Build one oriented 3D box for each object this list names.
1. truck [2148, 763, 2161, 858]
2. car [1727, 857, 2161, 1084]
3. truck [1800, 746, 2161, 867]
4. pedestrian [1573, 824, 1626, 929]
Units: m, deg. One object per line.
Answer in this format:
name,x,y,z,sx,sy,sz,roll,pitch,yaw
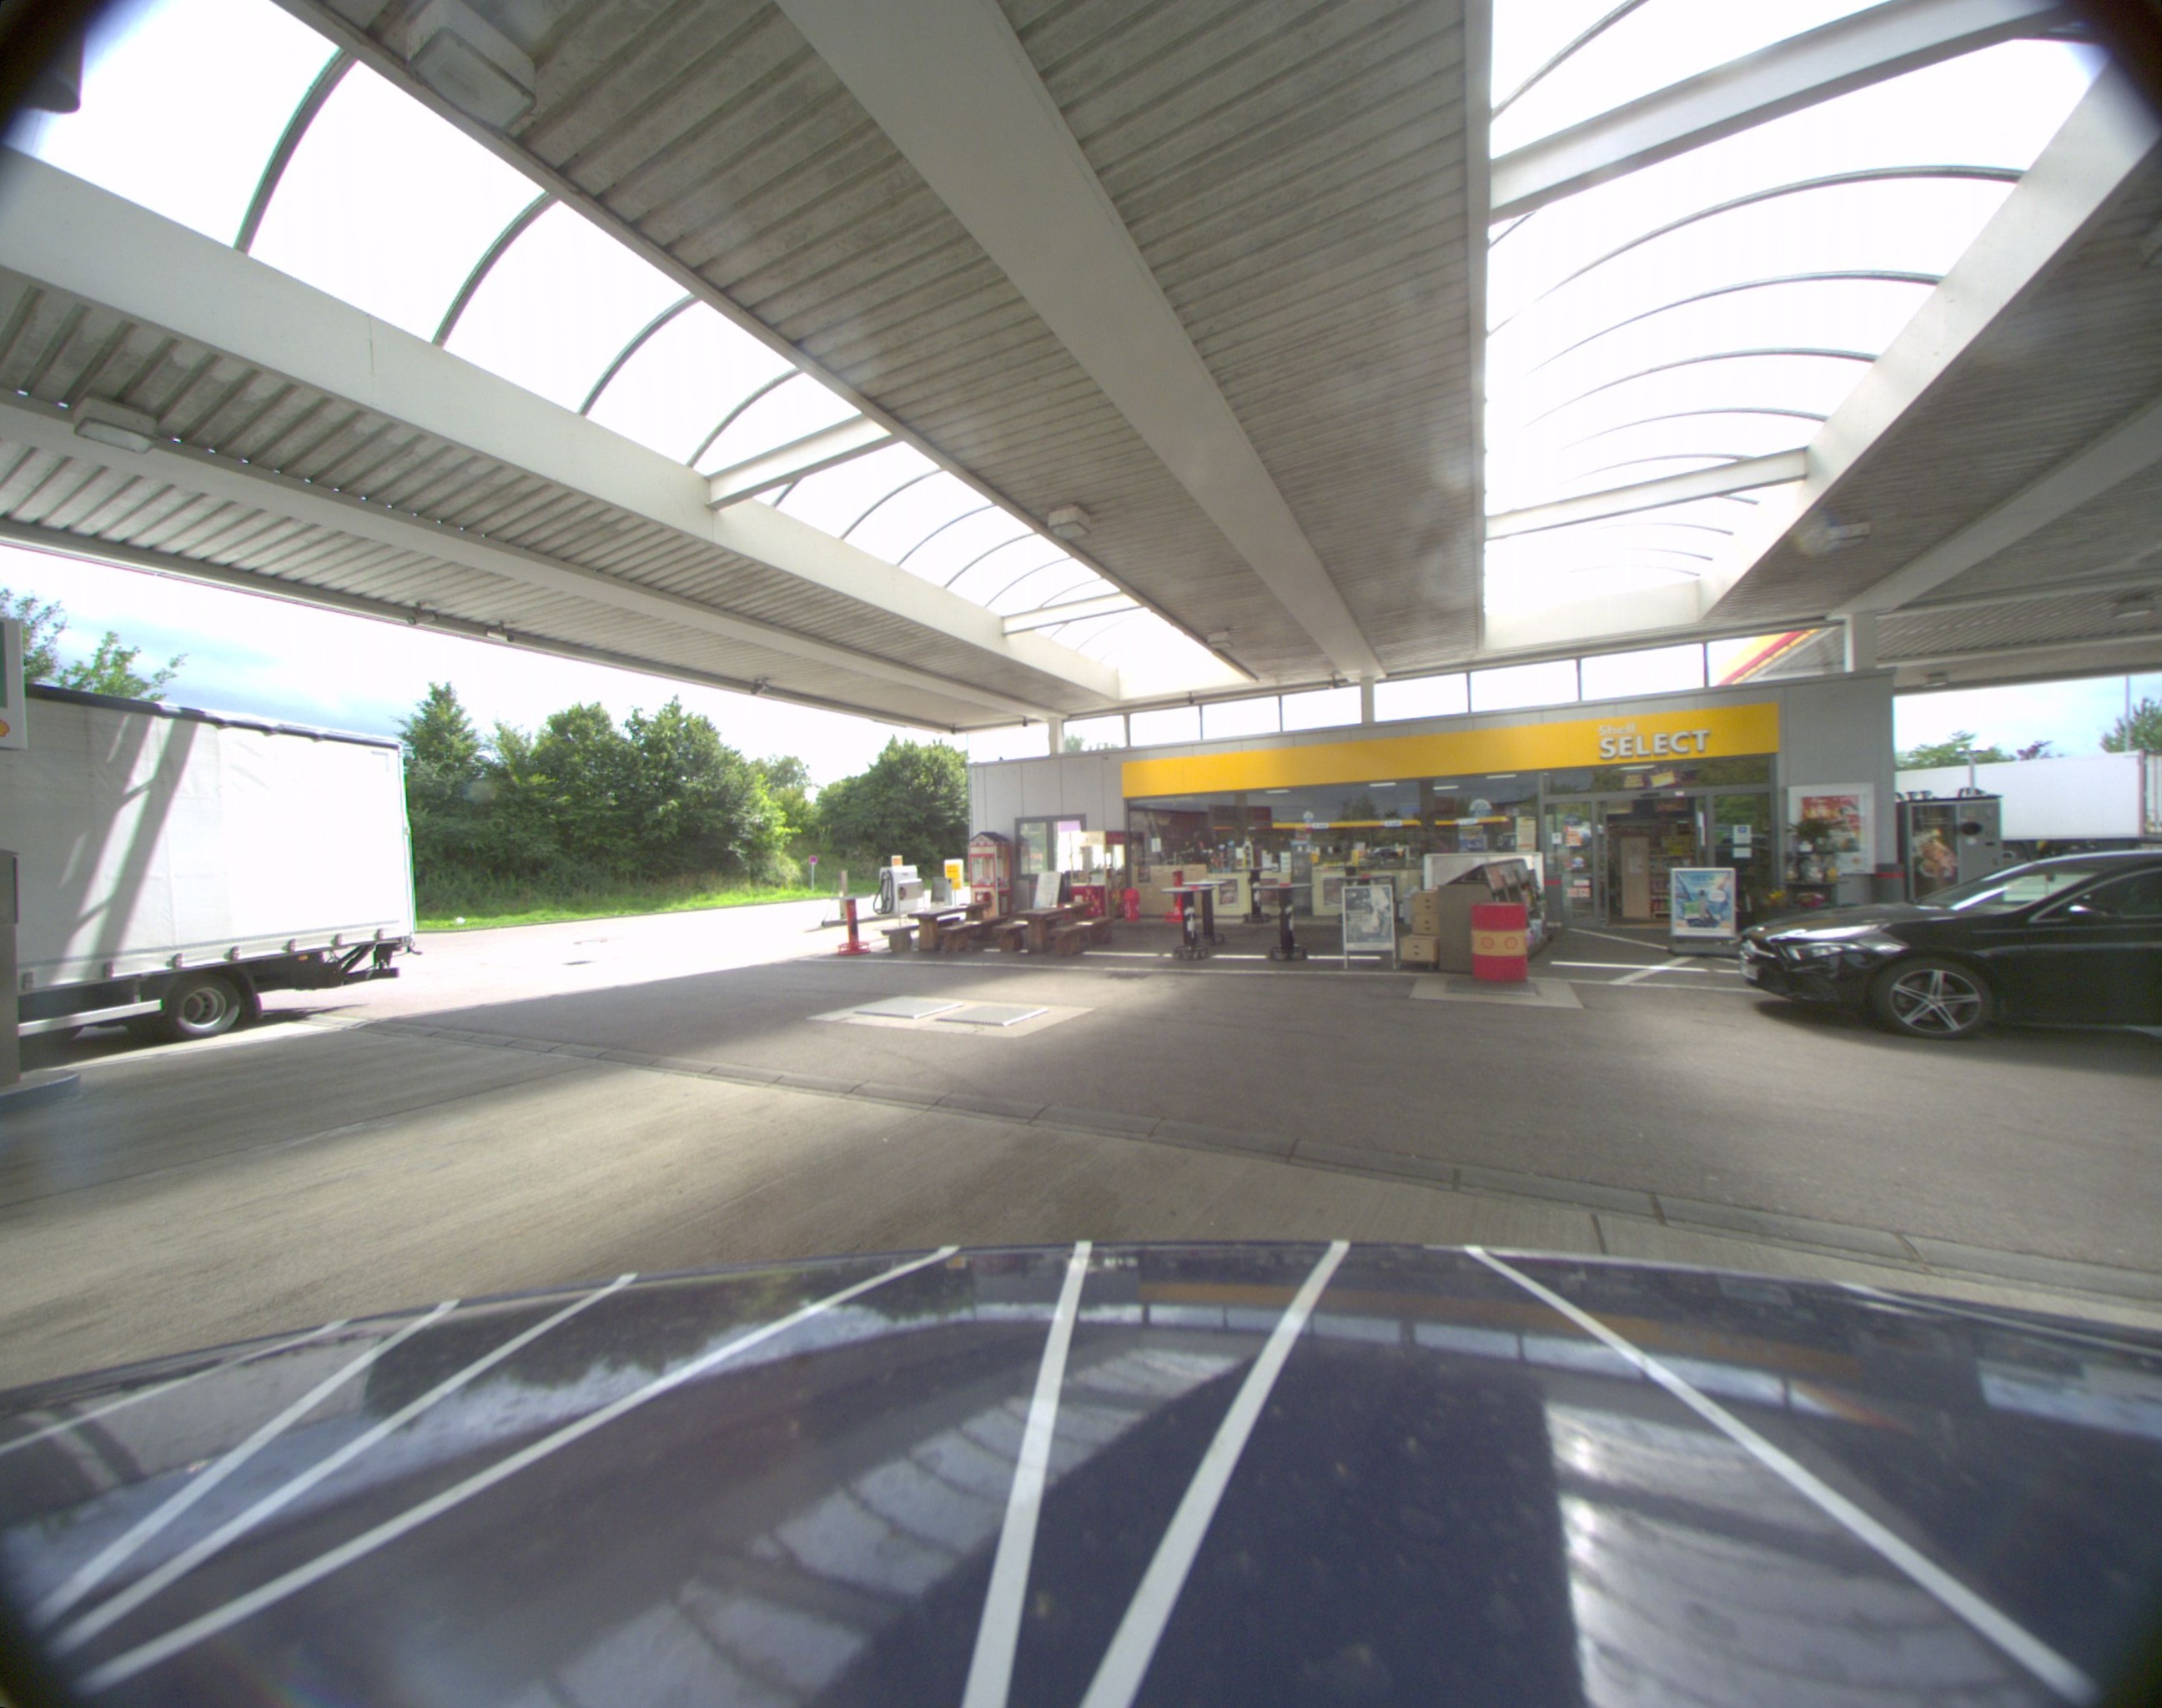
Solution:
truck,51.479,-2.038,33.155,3.383,4.479,6.239,-2,1,29
car,8.128,0.816,5.890,4.461,1.491,1.782,-2,1,28
truck,35.131,-1.612,30.073,2.796,3.982,9.578,-3,1,-16
pedestrian,9.644,0.402,14.141,0.581,1.895,0.509,-2,1,-6
